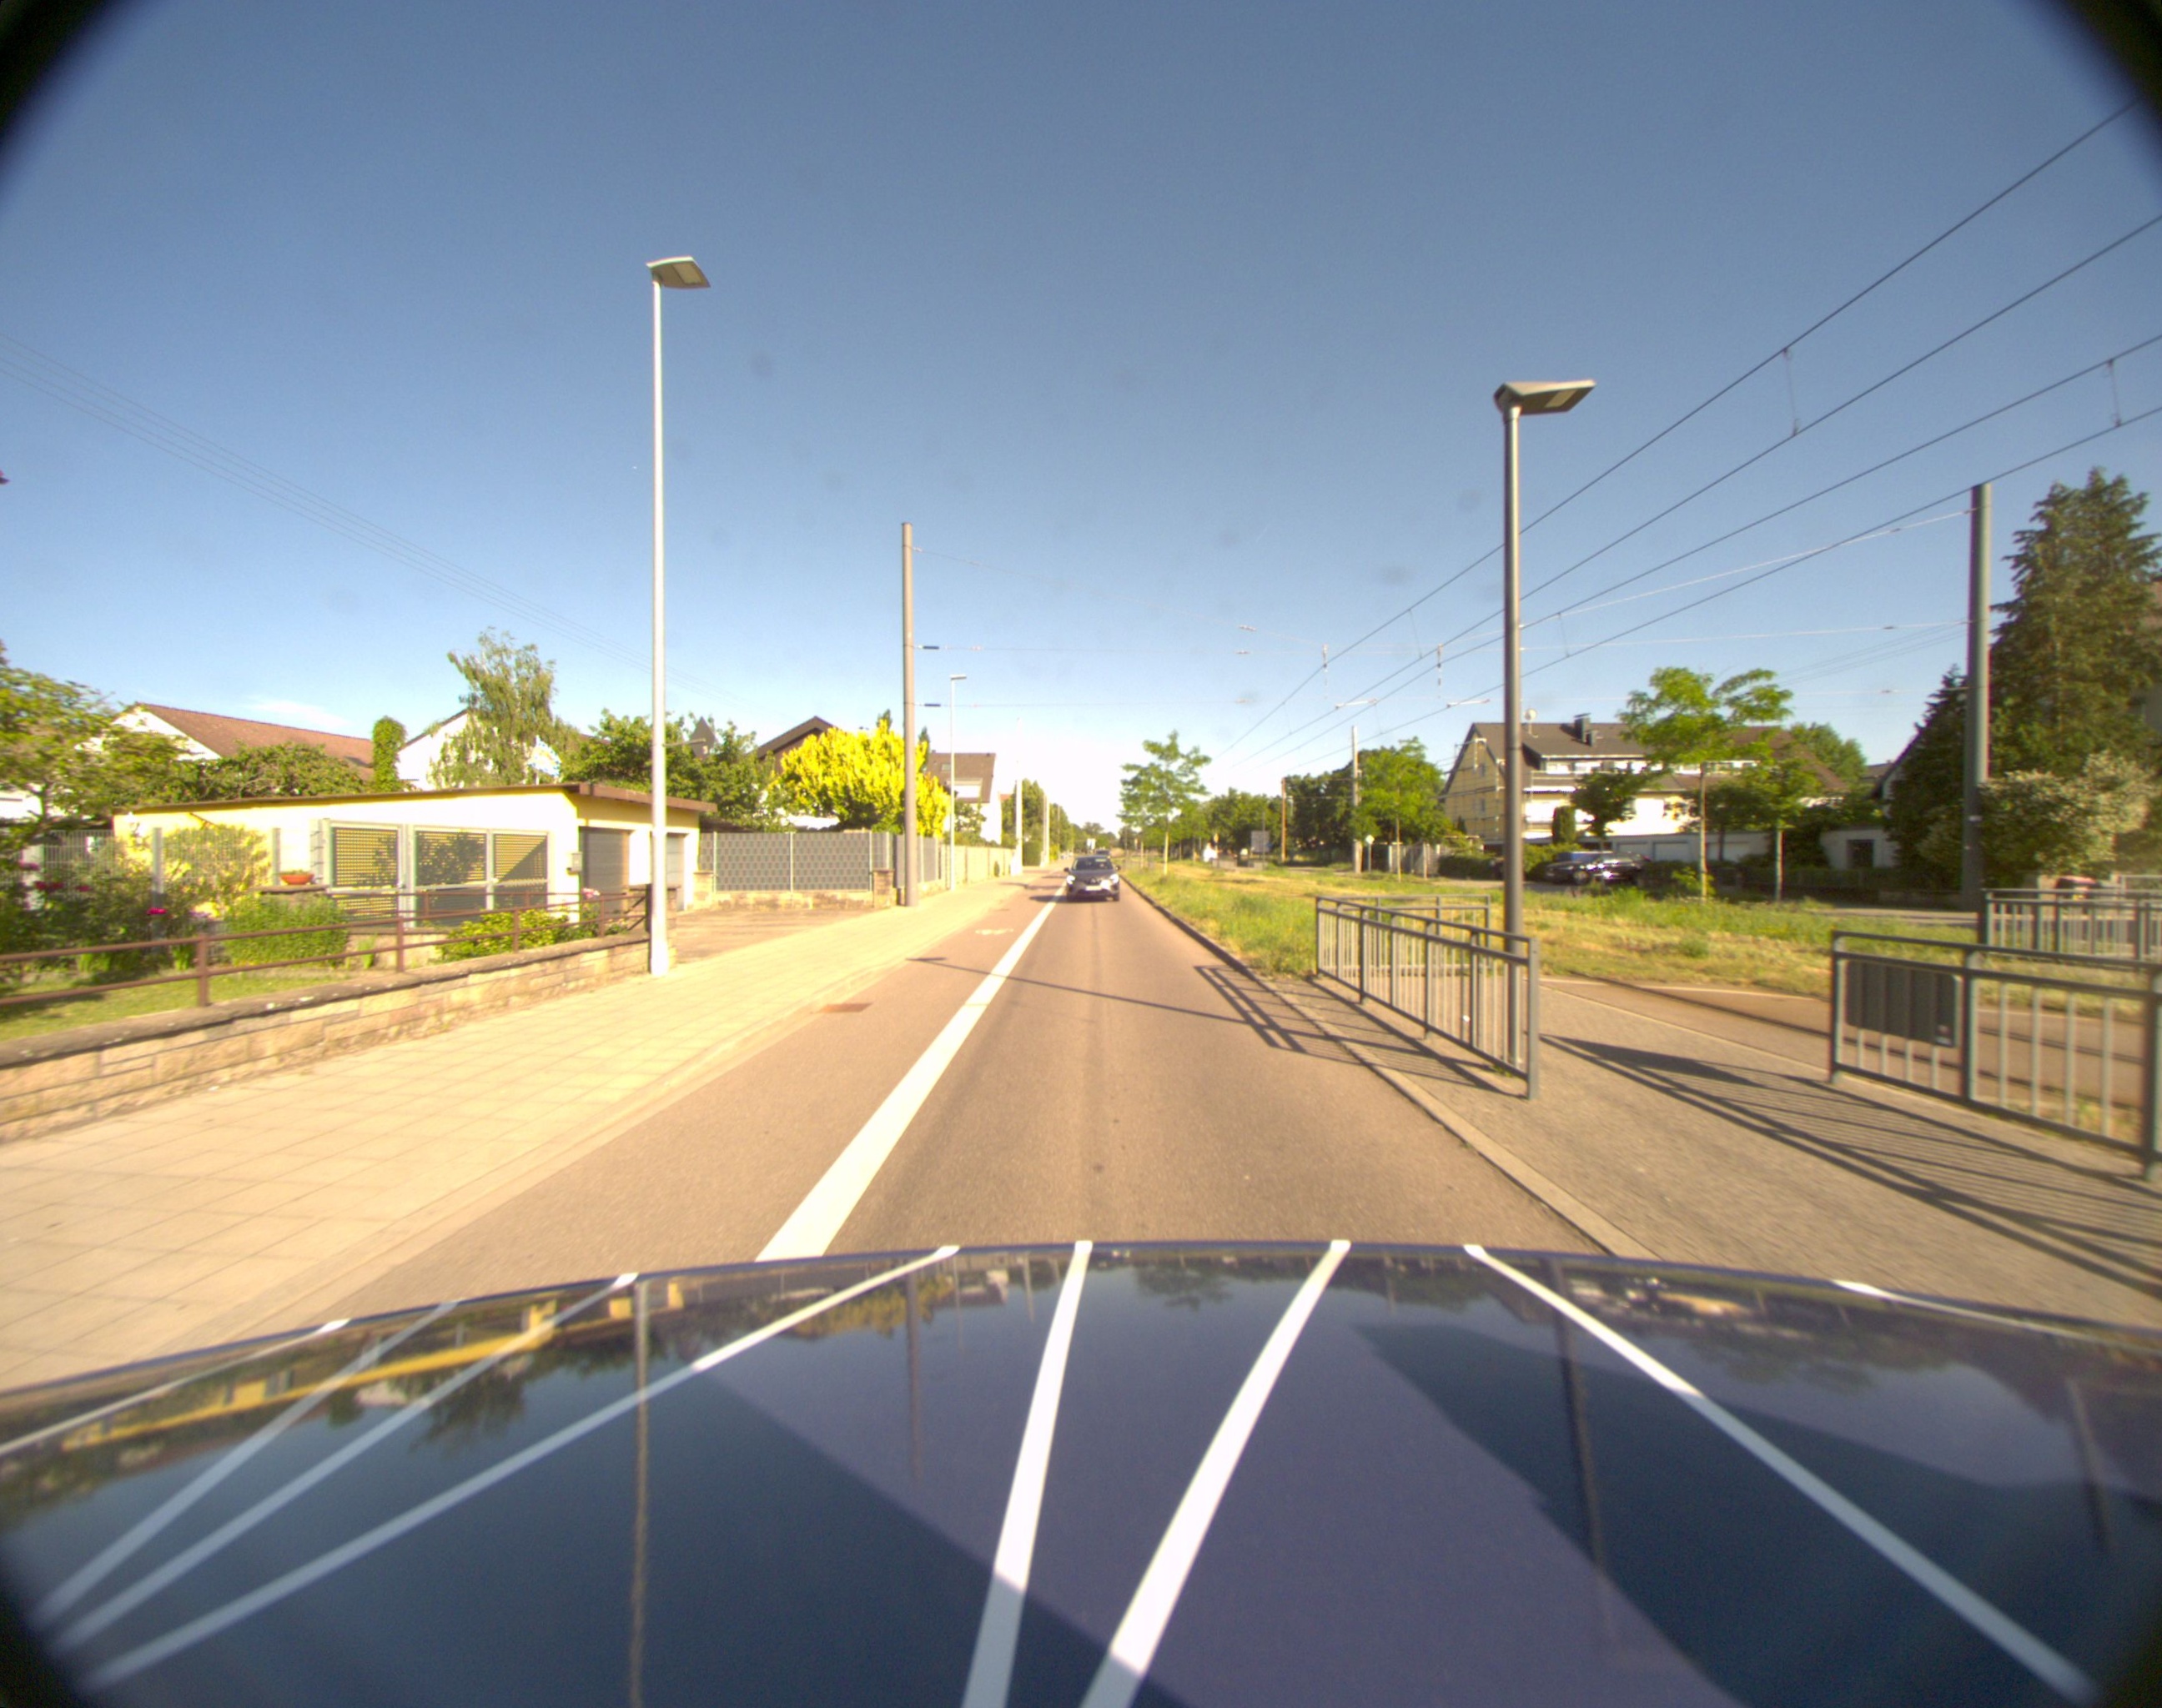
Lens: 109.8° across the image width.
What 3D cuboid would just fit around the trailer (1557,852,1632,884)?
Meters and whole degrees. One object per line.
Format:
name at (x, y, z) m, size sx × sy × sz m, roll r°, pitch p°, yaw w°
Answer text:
trailer at (26.580, 0.715, 39.382) m, size 2.921 × 1.638 × 1.398 m, roll 0°, pitch 1°, yaw -2°

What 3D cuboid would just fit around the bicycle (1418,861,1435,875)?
bicycle at (24.571, 0.983, 54.079) m, size 0.424 × 0.937 × 1.748 m, roll -2°, pitch 1°, yaw 1°

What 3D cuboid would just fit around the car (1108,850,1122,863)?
car at (4.979, 0.331, 112.529) m, size 1.998 × 1.824 × 4.000 m, roll -2°, pitch 1°, yaw 1°

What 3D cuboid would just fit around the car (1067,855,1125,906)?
car at (0.457, 0.880, 26.794) m, size 1.867 × 1.614 × 3.999 m, roll -1°, pitch 0°, yaw -1°

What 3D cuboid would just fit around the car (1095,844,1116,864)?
car at (2.365, -0.058, 74.281) m, size 1.998 × 1.824 × 4.000 m, roll -2°, pitch 1°, yaw 1°

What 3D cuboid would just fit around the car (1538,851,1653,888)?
car at (25.199, 0.739, 37.270) m, size 4.556 × 1.724 × 2.051 m, roll 0°, pitch 1°, yaw -11°

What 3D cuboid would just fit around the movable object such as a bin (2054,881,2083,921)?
movable object such as a bin at (24.198, 1.147, 18.621) m, size 0.299 × 0.960 × 0.333 m, roll -2°, pitch 1°, yaw -3°

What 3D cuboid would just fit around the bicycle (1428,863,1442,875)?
bicycle at (25.229, 1.049, 54.116) m, size 0.311 × 0.817 × 1.509 m, roll -2°, pitch 1°, yaw 1°

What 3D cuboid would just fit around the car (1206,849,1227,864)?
car at (17.246, 0.271, 96.971) m, size 1.902 × 1.903 × 4.701 m, roll 0°, pitch 0°, yaw 1°

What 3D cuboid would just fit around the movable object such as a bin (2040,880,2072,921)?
movable object such as a bin at (23.870, 1.132, 18.604) m, size 0.326 × 0.964 × 0.350 m, roll -2°, pitch 1°, yaw -3°
